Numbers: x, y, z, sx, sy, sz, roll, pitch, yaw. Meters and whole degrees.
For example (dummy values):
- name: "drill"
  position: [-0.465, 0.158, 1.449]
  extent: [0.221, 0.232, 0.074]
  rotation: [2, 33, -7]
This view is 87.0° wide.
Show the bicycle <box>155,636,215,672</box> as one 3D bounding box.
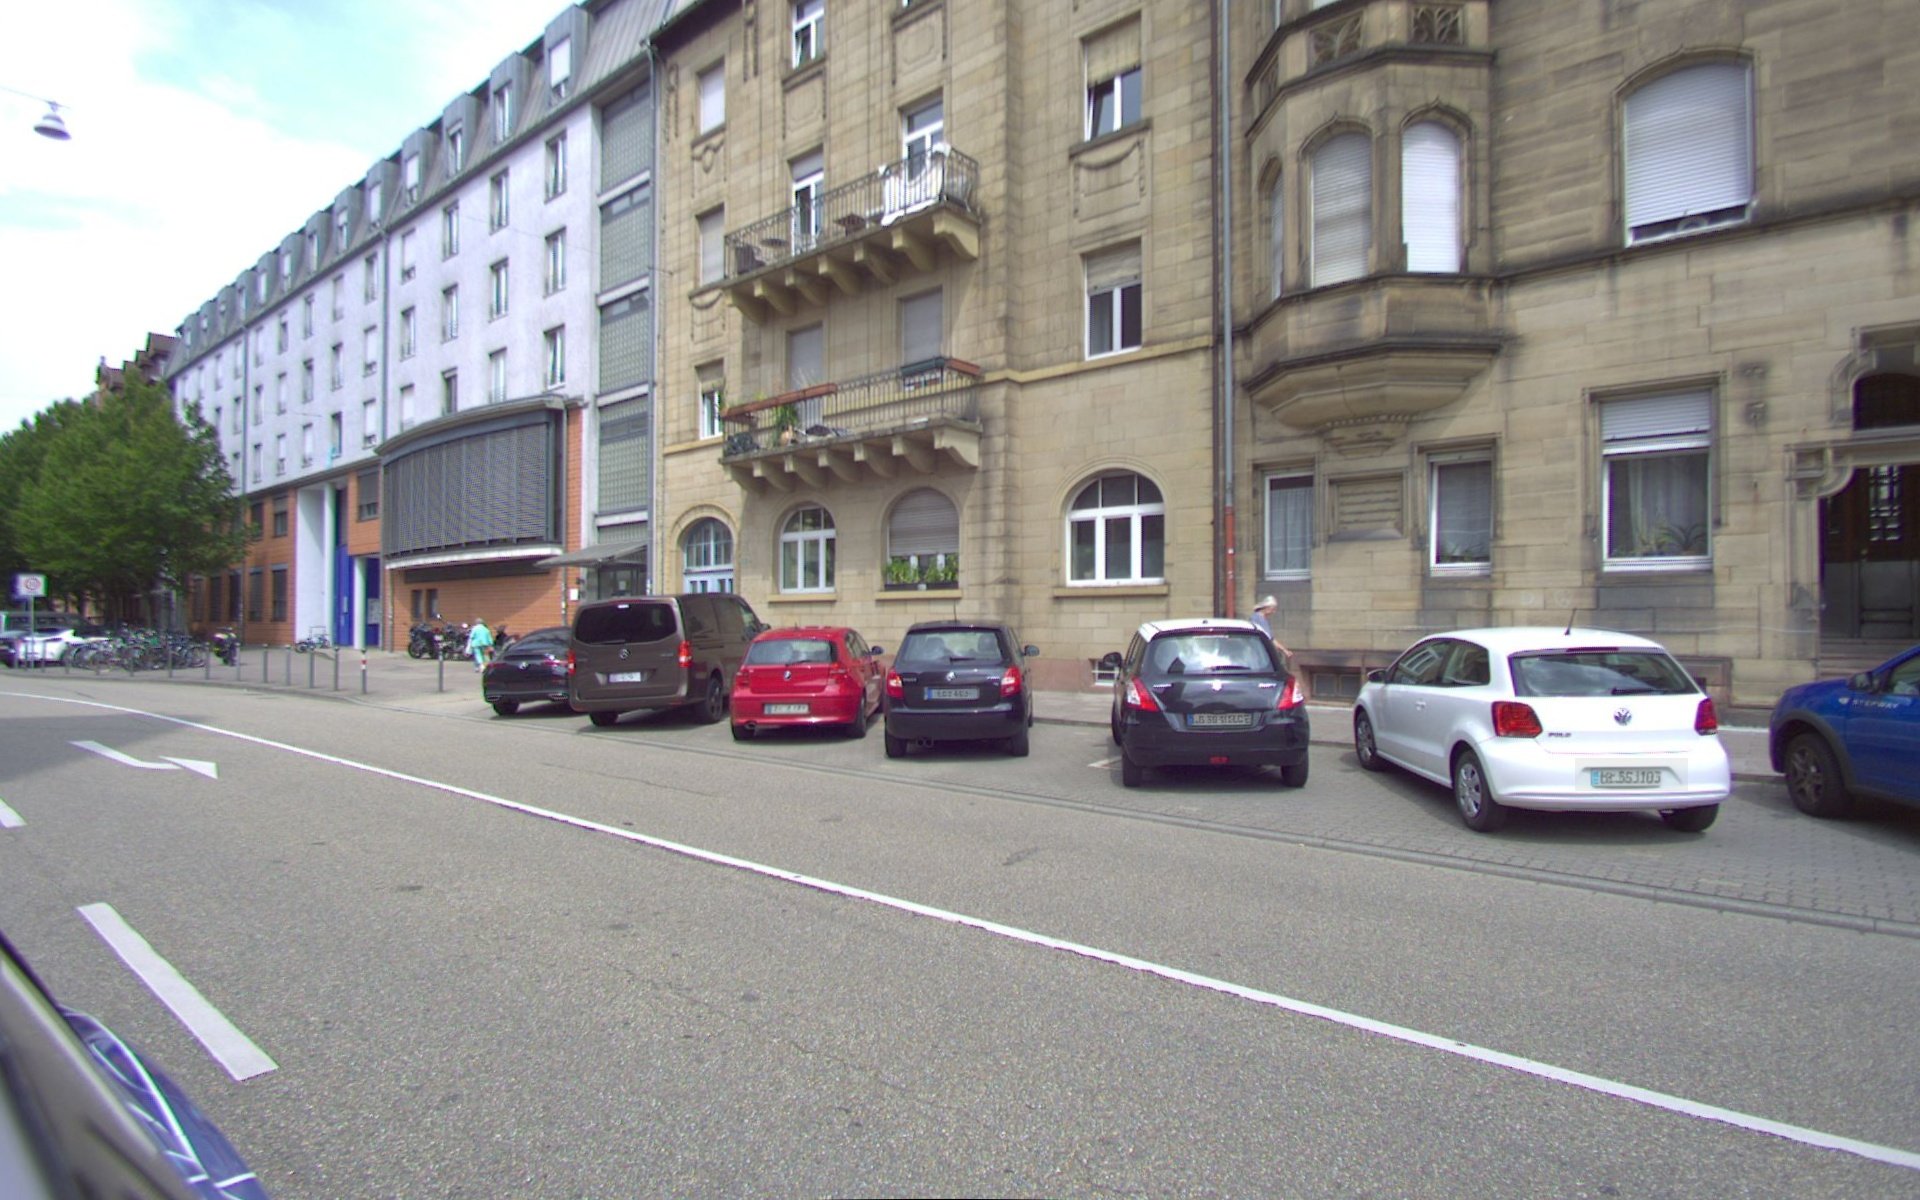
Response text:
- name: "bicycle"
  position: [-23.468, 1.621, 30.653]
  extent: [0.402, 1.034, 1.390]
  rotation: [-2, -2, 43]

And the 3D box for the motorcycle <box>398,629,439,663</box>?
- name: "motorcycle"
  position: [-17.683, 1.494, 33.031]
  extent: [1.655, 1.057, 0.577]
  rotation: [-2, -1, 40]

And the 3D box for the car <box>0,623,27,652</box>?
- name: "car"
  position: [-57.556, 2.202, 59.393]
  extent: [1.671, 1.695, 3.996]
  rotation: [-1, -2, 7]

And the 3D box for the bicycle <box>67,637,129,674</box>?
- name: "bicycle"
  position: [-26.505, 1.703, 31.137]
  extent: [0.402, 1.046, 1.391]
  rotation: [-2, 0, 43]

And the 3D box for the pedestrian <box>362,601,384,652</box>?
- name: "pedestrian"
  position: [-23.678, 1.066, 40.835]
  extent: [0.718, 2.029, 0.785]
  rotation: [1, -2, -29]

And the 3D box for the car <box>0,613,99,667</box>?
- name: "car"
  position: [-37.041, 1.554, 40.271]
  extent: [1.841, 2.013, 3.993]
  rotation: [-1, 0, 10]

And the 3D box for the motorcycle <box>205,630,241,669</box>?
- name: "motorcycle"
  position: [-23.199, 1.558, 31.851]
  extent: [1.779, 1.181, 0.577]
  rotation: [-2, -1, 43]

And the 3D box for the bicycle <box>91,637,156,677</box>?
- name: "bicycle"
  position: [-24.233, 1.646, 29.344]
  extent: [0.402, 1.046, 1.391]
  rotation: [-2, 0, 43]

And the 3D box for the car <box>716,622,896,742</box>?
- name: "car"
  position: [-1.973, 1.037, 14.113]
  extent: [1.772, 1.420, 4.009]
  rotation: [0, -2, 2]

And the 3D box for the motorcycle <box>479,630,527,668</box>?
- name: "motorcycle"
  position: [-13.095, 1.390, 28.984]
  extent: [1.793, 1.057, 0.577]
  rotation: [-2, -1, 42]

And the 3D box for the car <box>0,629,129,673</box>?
- name: "car"
  position: [-32.684, 1.787, 36.424]
  extent: [1.697, 1.480, 4.307]
  rotation: [-1, -2, 7]

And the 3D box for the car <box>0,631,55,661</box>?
- name: "car"
  position: [-45.359, 2.174, 47.718]
  extent: [1.577, 1.400, 3.996]
  rotation: [-1, -2, 7]

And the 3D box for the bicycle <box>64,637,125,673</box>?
- name: "bicycle"
  position: [-26.990, 1.698, 31.558]
  extent: [0.402, 1.034, 1.391]
  rotation: [-2, 0, 43]

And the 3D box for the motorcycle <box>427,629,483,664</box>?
- name: "motorcycle"
  position: [-15.750, 1.452, 31.573]
  extent: [1.959, 1.057, 0.579]
  rotation: [-2, -1, 30]

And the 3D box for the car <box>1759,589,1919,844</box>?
- name: "car"
  position: [7.089, 0.744, 6.102]
  extent: [1.703, 1.664, 3.772]
  rotation: [-1, -2, 5]

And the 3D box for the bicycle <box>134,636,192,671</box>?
- name: "bicycle"
  position: [-25.243, 1.680, 32.060]
  extent: [0.402, 1.034, 1.390]
  rotation: [-2, -2, 43]

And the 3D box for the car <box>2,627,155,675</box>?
- name: "car"
  position: [-30.502, 1.743, 35.185]
  extent: [1.583, 1.557, 3.997]
  rotation: [-1, -2, 7]

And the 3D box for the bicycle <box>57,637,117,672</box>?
- name: "bicycle"
  position: [-27.937, 1.743, 32.407]
  extent: [0.402, 1.034, 1.391]
  rotation: [-2, 0, 43]

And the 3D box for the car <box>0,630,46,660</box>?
- name: "car"
  position: [-47.092, 2.205, 49.096]
  extent: [1.671, 1.465, 3.996]
  rotation: [-1, -2, 7]

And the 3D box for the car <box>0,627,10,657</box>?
- name: "car"
  position: [-59.753, 2.561, 60.608]
  extent: [1.671, 1.872, 4.035]
  rotation: [-1, -2, 7]

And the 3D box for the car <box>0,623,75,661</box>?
- name: "car"
  position: [-41.191, 1.818, 43.965]
  extent: [1.692, 1.627, 3.996]
  rotation: [-1, -2, 7]

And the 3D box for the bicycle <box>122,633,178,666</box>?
- name: "bicycle"
  position: [-26.279, 1.599, 32.857]
  extent: [0.402, 1.034, 1.390]
  rotation: [-2, -2, 43]

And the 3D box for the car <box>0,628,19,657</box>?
- name: "car"
  position: [-53.262, 2.335, 54.244]
  extent: [1.671, 1.580, 3.996]
  rotation: [-1, -2, 7]

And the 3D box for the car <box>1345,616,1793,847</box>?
- name: "car"
  position: [4.666, 0.904, 8.471]
  extent: [1.720, 1.493, 3.680]
  rotation: [-1, -2, 5]

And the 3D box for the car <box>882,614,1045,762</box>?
- name: "car"
  position: [0.190, 0.958, 12.446]
  extent: [1.611, 1.514, 3.989]
  rotation: [-1, -2, 6]

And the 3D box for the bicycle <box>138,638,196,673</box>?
- name: "bicycle"
  position: [-24.533, 1.711, 31.318]
  extent: [0.402, 1.034, 1.390]
  rotation: [-2, -2, 43]

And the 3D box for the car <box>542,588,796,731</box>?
- name: "car"
  position: [-4.382, 0.877, 16.341]
  extent: [2.096, 1.924, 5.260]
  rotation: [-1, -2, 7]

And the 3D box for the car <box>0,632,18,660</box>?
- name: "car"
  position: [-55.171, 2.609, 56.231]
  extent: [1.671, 1.580, 3.996]
  rotation: [-1, -2, 7]

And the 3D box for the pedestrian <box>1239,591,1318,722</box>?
- name: "pedestrian"
  position: [4.116, 0.707, 13.075]
  extent: [0.678, 1.607, 0.783]
  rotation: [-2, 0, 41]

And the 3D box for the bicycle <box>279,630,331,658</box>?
- name: "bicycle"
  position: [-25.998, 1.732, 40.157]
  extent: [1.590, 0.933, 0.933]
  rotation: [-6, 2, -37]

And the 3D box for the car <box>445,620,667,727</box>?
- name: "car"
  position: [-6.876, 1.168, 17.838]
  extent: [1.874, 1.420, 4.669]
  rotation: [-2, 1, 2]

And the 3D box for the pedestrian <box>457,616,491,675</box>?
- name: "pedestrian"
  position: [-12.542, 1.168, 26.127]
  extent: [0.509, 1.497, 0.653]
  rotation: [-2, -2, 43]

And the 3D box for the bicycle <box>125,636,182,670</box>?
- name: "bicycle"
  position: [-25.912, 1.685, 32.535]
  extent: [0.402, 1.034, 1.390]
  rotation: [-2, -2, 43]

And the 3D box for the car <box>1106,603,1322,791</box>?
- name: "car"
  position: [2.463, 0.876, 10.636]
  extent: [1.776, 1.576, 4.001]
  rotation: [-1, -2, 9]

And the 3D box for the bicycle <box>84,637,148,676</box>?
- name: "bicycle"
  position: [-24.928, 1.652, 29.903]
  extent: [0.402, 1.046, 1.391]
  rotation: [-2, 0, 43]

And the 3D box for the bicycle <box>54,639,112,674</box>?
- name: "bicycle"
  position: [-28.538, 1.819, 32.945]
  extent: [0.402, 1.034, 1.391]
  rotation: [-2, 0, 43]

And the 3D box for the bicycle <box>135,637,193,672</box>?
- name: "bicycle"
  position: [-24.920, 1.690, 31.690]
  extent: [0.402, 1.034, 1.390]
  rotation: [-2, -2, 43]
